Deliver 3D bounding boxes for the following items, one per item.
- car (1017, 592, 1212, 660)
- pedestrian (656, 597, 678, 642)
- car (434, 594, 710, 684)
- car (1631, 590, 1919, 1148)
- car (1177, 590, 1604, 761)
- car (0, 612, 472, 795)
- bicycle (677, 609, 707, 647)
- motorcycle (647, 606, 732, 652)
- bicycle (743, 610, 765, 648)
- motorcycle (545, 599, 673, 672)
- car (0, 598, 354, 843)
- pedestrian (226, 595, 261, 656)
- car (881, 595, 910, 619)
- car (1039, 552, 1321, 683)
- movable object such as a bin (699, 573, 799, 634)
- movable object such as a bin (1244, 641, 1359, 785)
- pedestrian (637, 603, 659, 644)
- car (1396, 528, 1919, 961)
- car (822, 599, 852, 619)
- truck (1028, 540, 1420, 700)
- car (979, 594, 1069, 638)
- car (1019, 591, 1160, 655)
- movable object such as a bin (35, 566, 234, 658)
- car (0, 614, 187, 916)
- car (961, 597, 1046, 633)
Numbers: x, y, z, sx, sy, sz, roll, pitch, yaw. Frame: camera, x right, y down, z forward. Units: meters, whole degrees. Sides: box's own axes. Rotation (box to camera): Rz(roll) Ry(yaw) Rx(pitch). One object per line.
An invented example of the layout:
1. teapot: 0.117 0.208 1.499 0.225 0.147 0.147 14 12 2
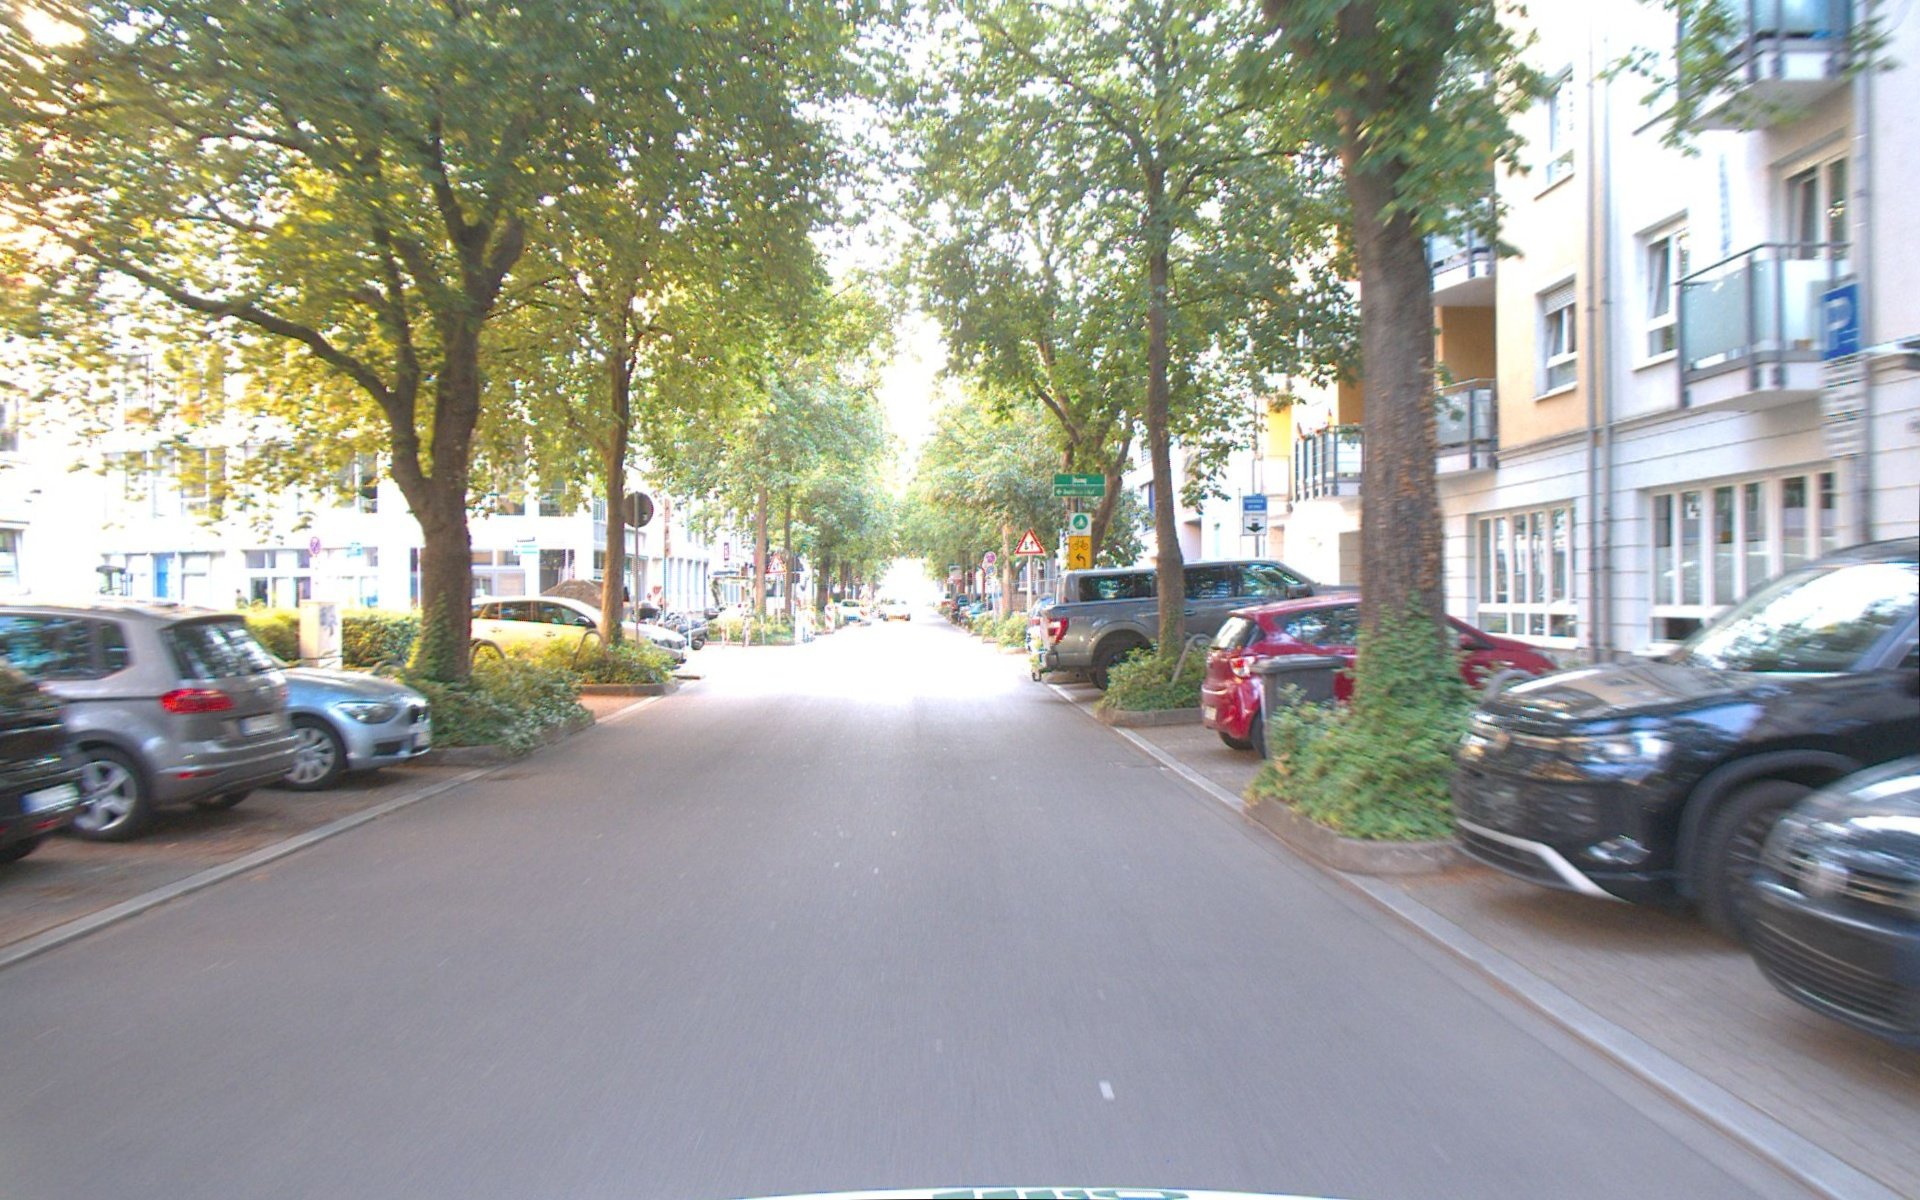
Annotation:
1. car: 3.717 0.622 40.355 4.529 1.599 2.010 0 0 -2
2. pedestrian: -11.357 0.762 64.081 0.724 1.720 0.607 -1 0 0
3. car: -6.992 0.680 30.153 4.524 1.579 2.075 0 0 0
4. car: 4.659 0.620 5.327 4.138 1.463 1.929 -4 0 0
5. car: 4.144 0.695 16.326 3.701 1.571 1.876 0 0 -3
6. car: -6.666 0.858 14.517 4.201 1.455 1.878 0 0 -2
7. bicycle: -8.684 0.903 53.643 0.669 1.173 1.981 -1 0 -1
8. motorcycle: -8.172 0.865 50.064 2.337 1.304 1.051 -1 1 -42
9. bicycle: -6.692 0.917 53.730 0.670 1.173 1.978 -1 0 -7
10. motorcycle: -7.191 0.724 33.976 2.402 1.445 0.911 -1 0 0
11. car: -6.681 0.799 11.888 3.903 1.593 1.930 0 0 3
12. pedestrian: -22.601 0.789 52.170 0.879 1.883 0.866 -1 0 -34
13. car: -4.472 0.473 114.504 1.969 1.641 4.117 -1 0 -3
14. car: 3.737 0.280 28.679 4.508 2.102 2.196 -1 0 -3
15. movable object such as a bin: -8.649 0.135 68.065 3.969 2.425 2.780 -1 0 -7
16. movable object such as a bin: 2.819 0.919 13.725 0.745 1.103 0.785 -2 0 -1
17. pedestrian: -12.113 0.899 64.232 0.754 1.562 0.642 -1 0 -2
18. car: 4.690 0.478 7.922 4.553 1.645 2.008 -4 0 -6
19. car: -8.405 0.581 112.965 1.955 1.310 3.995 0 0 -6
20. truck: 4.023 0.302 25.944 5.768 2.351 2.212 0 0 -1
21. car: 2.808 0.692 72.746 3.904 1.836 2.001 -1 0 2
22. car: 3.338 0.591 43.003 3.467 1.591 1.831 -1 0 -2
23. movable object such as a bin: -25.525 0.368 51.151 5.512 2.739 2.285 0 0 19
24. car: -6.702 0.864 9.222 3.908 1.517 1.824 0 0 -4
25. car: 2.009 0.689 77.299 3.905 1.613 2.000 -1 0 0
